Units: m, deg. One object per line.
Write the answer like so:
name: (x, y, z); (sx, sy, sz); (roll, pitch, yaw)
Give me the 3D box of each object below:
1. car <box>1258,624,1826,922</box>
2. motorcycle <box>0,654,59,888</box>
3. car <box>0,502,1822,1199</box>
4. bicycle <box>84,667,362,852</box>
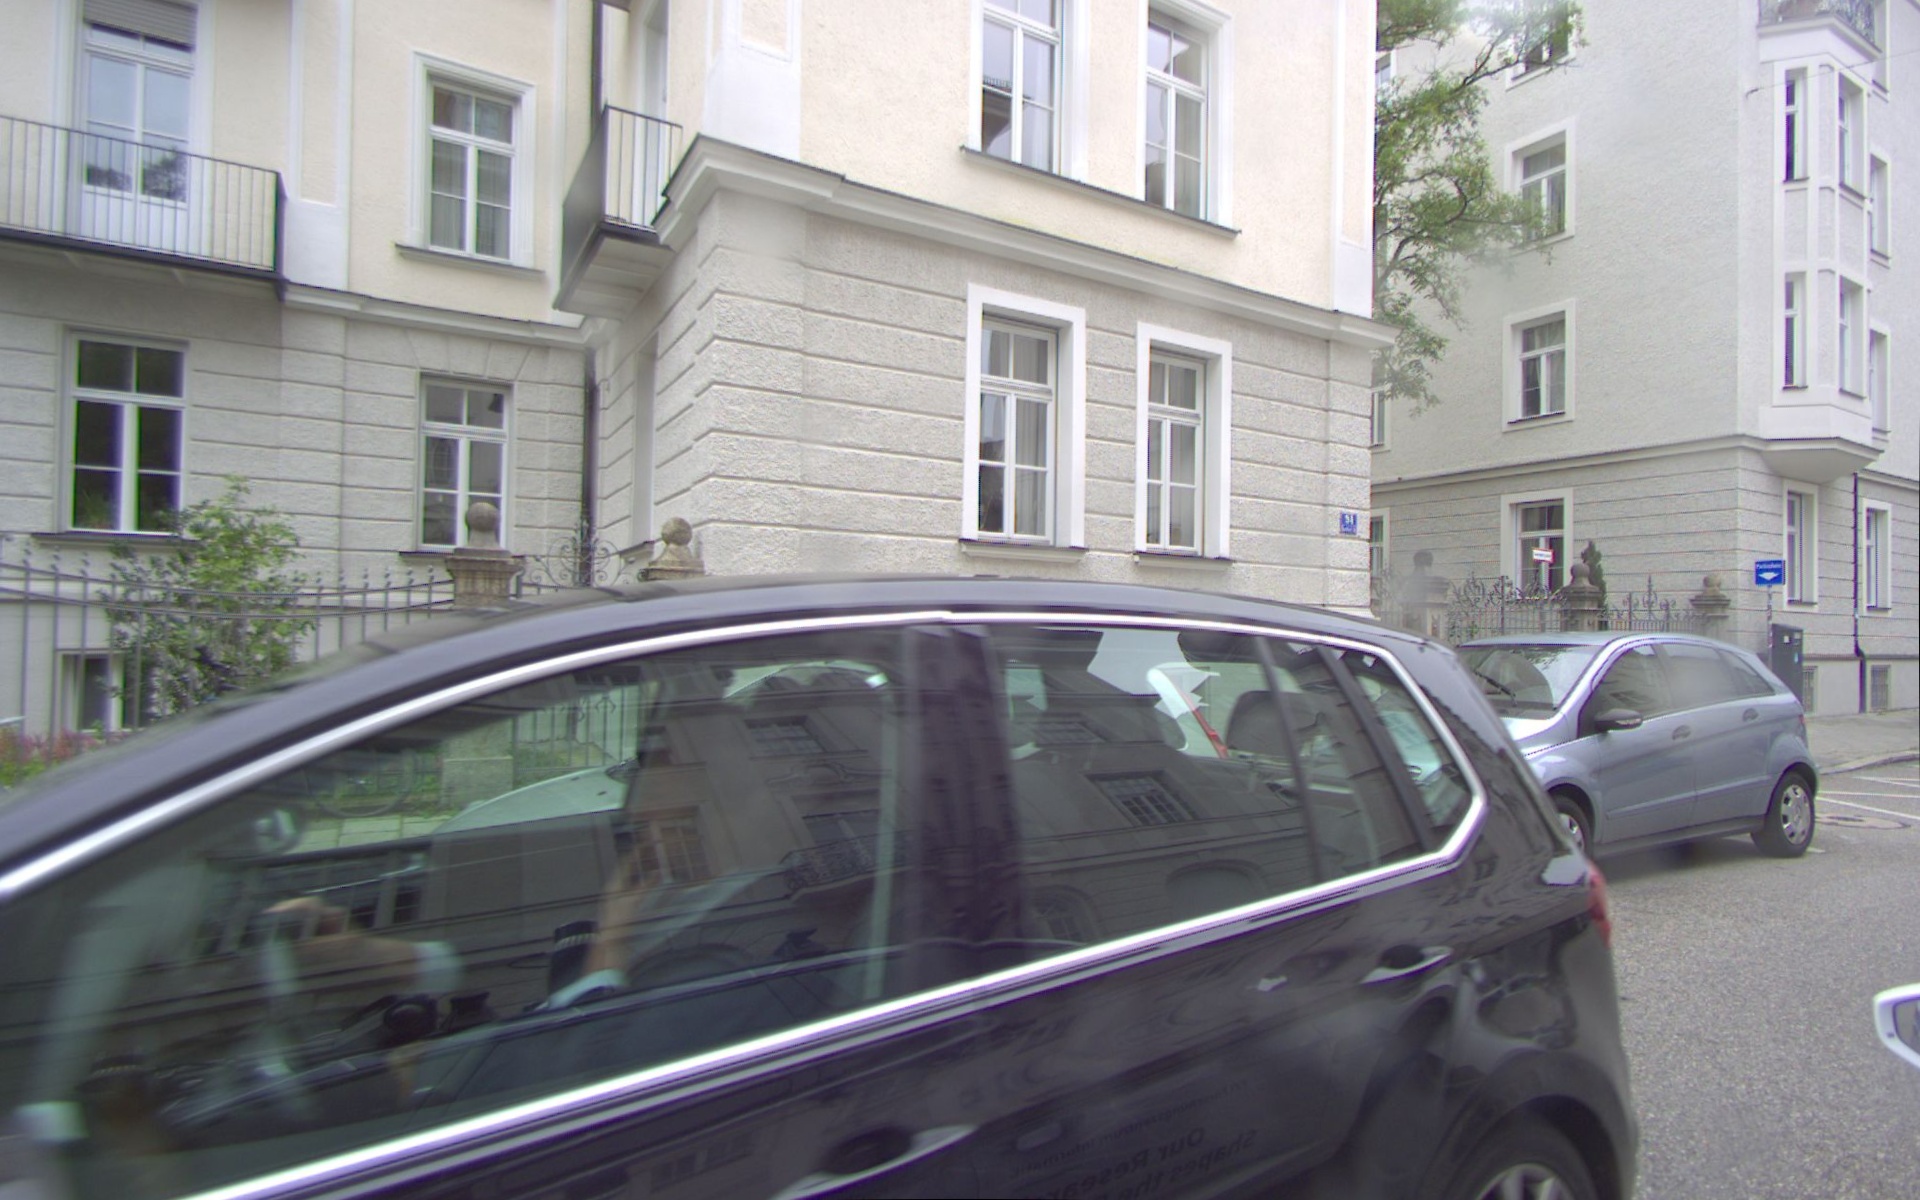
car: (4.211, 1.025, 7.166); (4.013, 1.601, 1.689); (1, -4, -30)
motorcycle: (-6.219, 0.935, 5.471); (1.800, 1.266, 0.701); (3, -1, -31)
car: (-0.512, 0.783, 1.689); (4.037, 1.553, 1.717); (2, -4, -30)
bicycle: (-4.783, 1.003, 6.615); (1.403, 1.075, 0.429); (2, 2, -29)
